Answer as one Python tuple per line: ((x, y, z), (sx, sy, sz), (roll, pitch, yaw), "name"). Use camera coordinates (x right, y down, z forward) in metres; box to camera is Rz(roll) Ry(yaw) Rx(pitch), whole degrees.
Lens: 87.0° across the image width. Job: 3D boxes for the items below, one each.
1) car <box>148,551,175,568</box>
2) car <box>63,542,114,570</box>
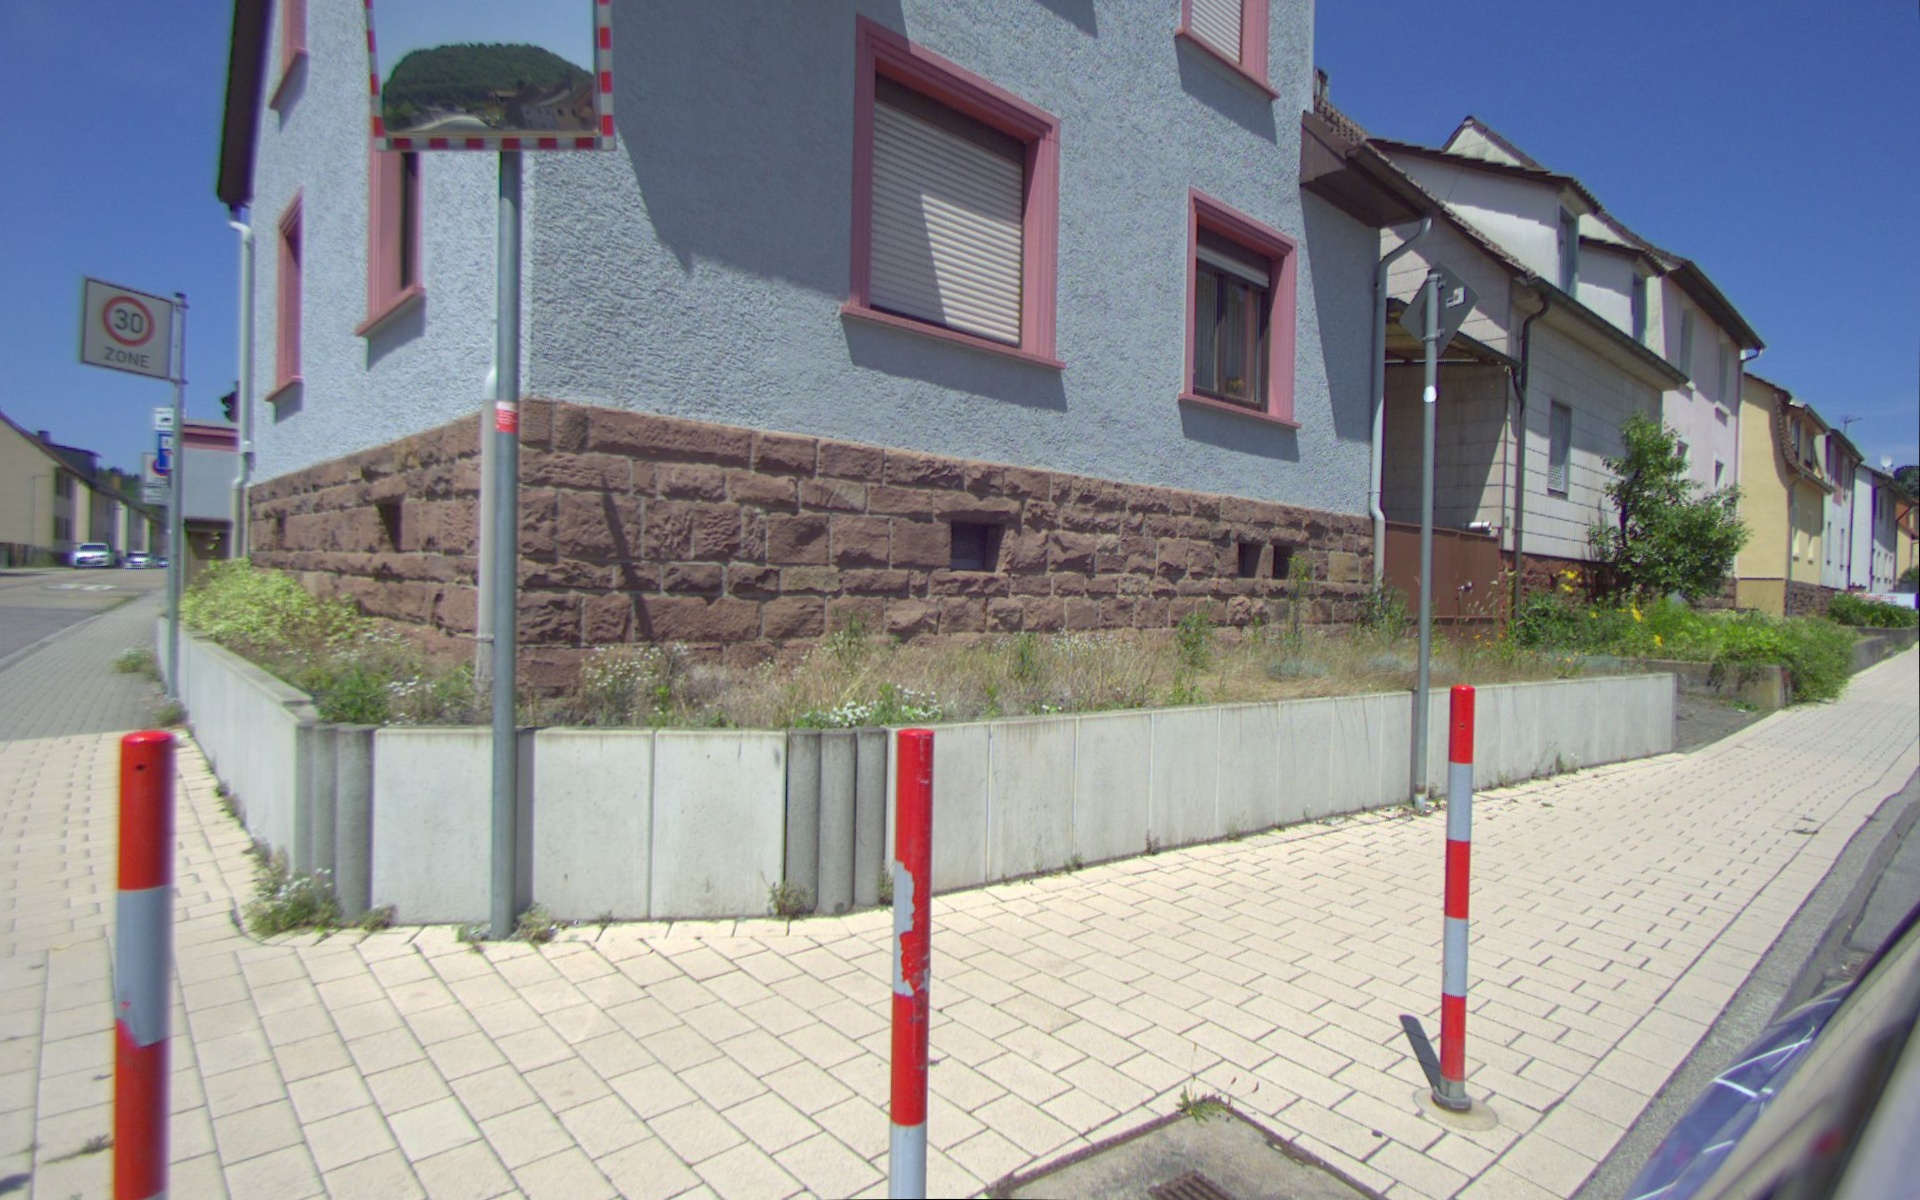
((-80.121, -4.085, 101.612), (1.963, 1.615, 4.001), (-1, 3, -36), "car")
((-52.162, -2.643, 60.658), (1.963, 1.615, 4.001), (-1, 3, -36), "car")
